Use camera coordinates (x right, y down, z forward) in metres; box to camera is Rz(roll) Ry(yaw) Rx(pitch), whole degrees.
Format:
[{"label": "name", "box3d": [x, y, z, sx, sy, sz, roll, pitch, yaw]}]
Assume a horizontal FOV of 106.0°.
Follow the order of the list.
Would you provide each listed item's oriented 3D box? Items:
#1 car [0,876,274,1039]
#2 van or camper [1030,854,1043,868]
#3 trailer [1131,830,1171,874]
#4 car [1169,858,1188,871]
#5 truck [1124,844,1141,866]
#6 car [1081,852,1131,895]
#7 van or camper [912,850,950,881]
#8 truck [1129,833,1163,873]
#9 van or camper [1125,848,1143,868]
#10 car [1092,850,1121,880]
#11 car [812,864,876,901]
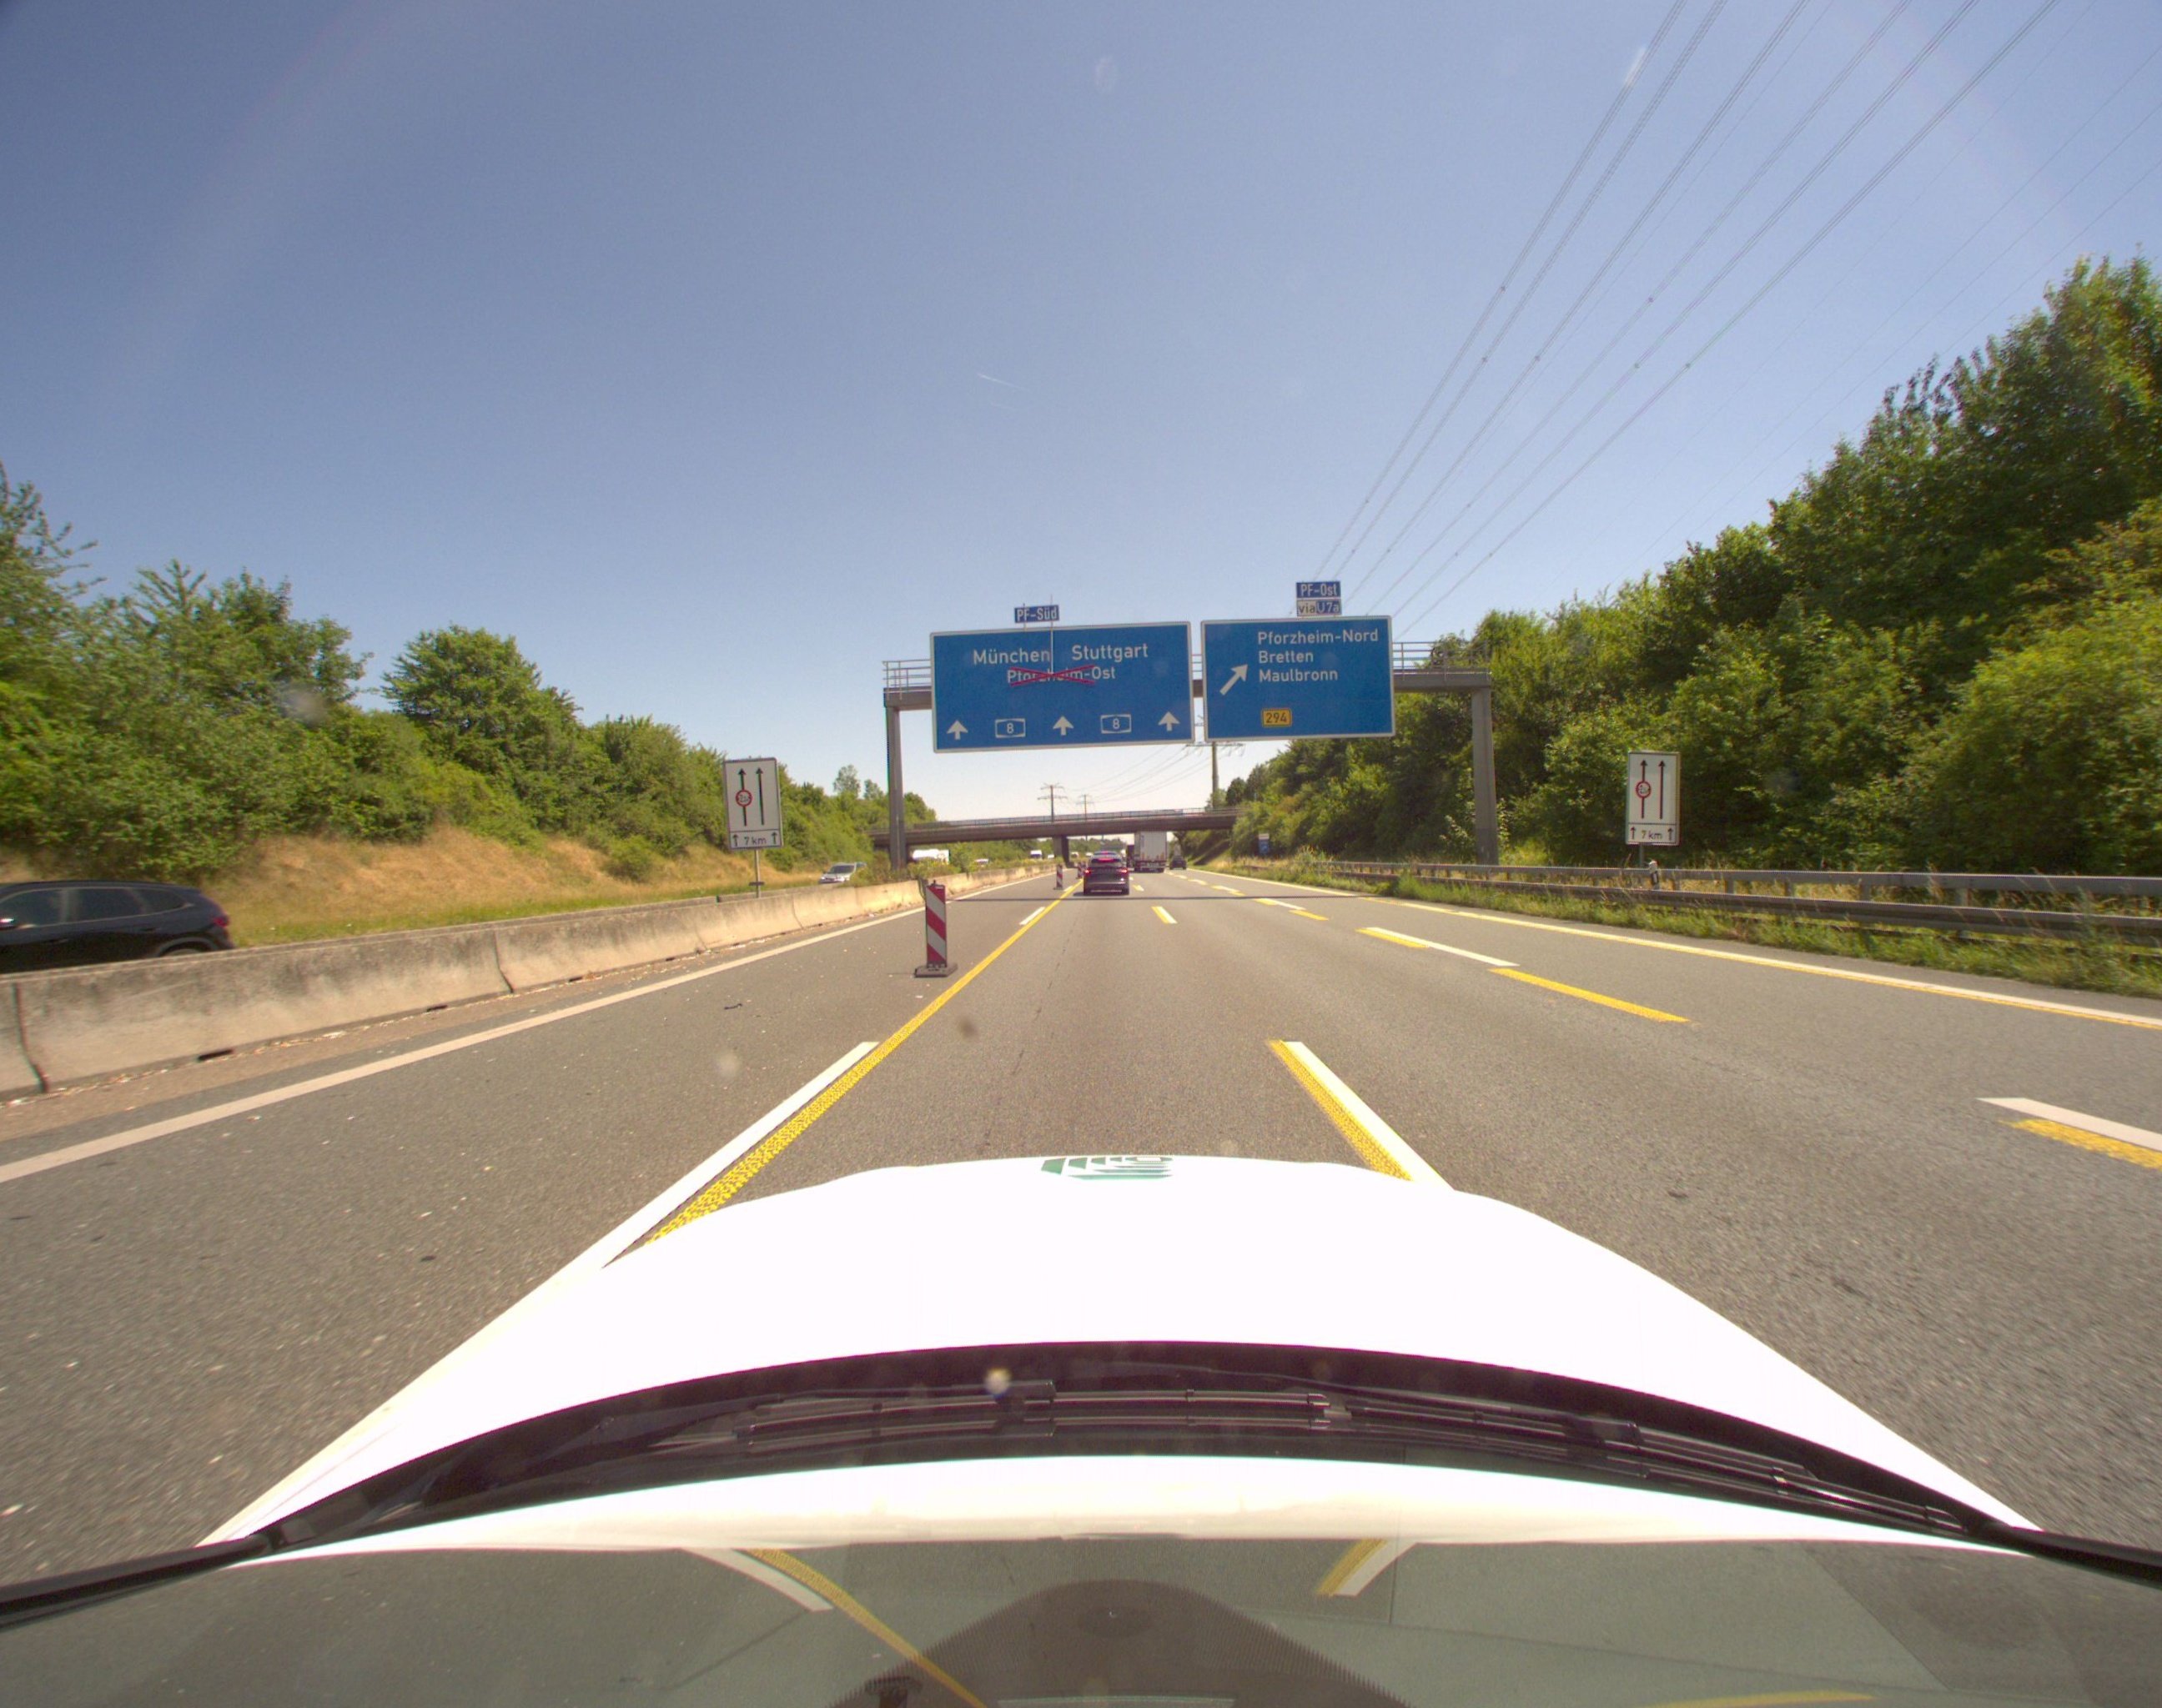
[{"label": "car", "box3d": [-12.563, 1.183, 9.404, 1.865, 1.694, 4.500, -2, 0, 2]}, {"label": "van or camper", "box3d": [-10.695, 1.665, 195.612, 2.560, 3.187, 6.235, -1, 0, 2]}, {"label": "trailer", "box3d": [6.845, -0.160, 81.172, 3.055, 4.042, 11.487, -1, 0, 0]}, {"label": "car", "box3d": [11.279, 1.163, 94.402, 1.772, 1.489, 4.465, 0, 0, 1]}, {"label": "truck", "box3d": [10.127, 0.230, 160.930, 3.065, 4.146, 13.063, 0, 0, 3]}, {"label": "car", "box3d": [0.995, 0.763, 33.564, 1.889, 1.592, 4.443, -2, 0, 1]}, {"label": "van or camper", "box3d": [-16.241, 1.180, 88.780, 2.426, 3.147, 7.629, -2, 0, 2]}, {"label": "truck", "box3d": [6.934, -0.139, 88.018, 3.014, 4.087, 7.795, -1, 0, 1]}, {"label": "van or camper", "box3d": [8.092, 0.587, 124.716, 2.576, 2.968, 6.089, 0, 0, 3]}, {"label": "car", "box3d": [1.731, 0.725, 56.673, 1.889, 1.841, 4.444, -1, 2, 1]}, {"label": "car", "box3d": [-12.820, 1.509, 44.372, 1.986, 1.782, 4.623, -2, 0, 2]}]
